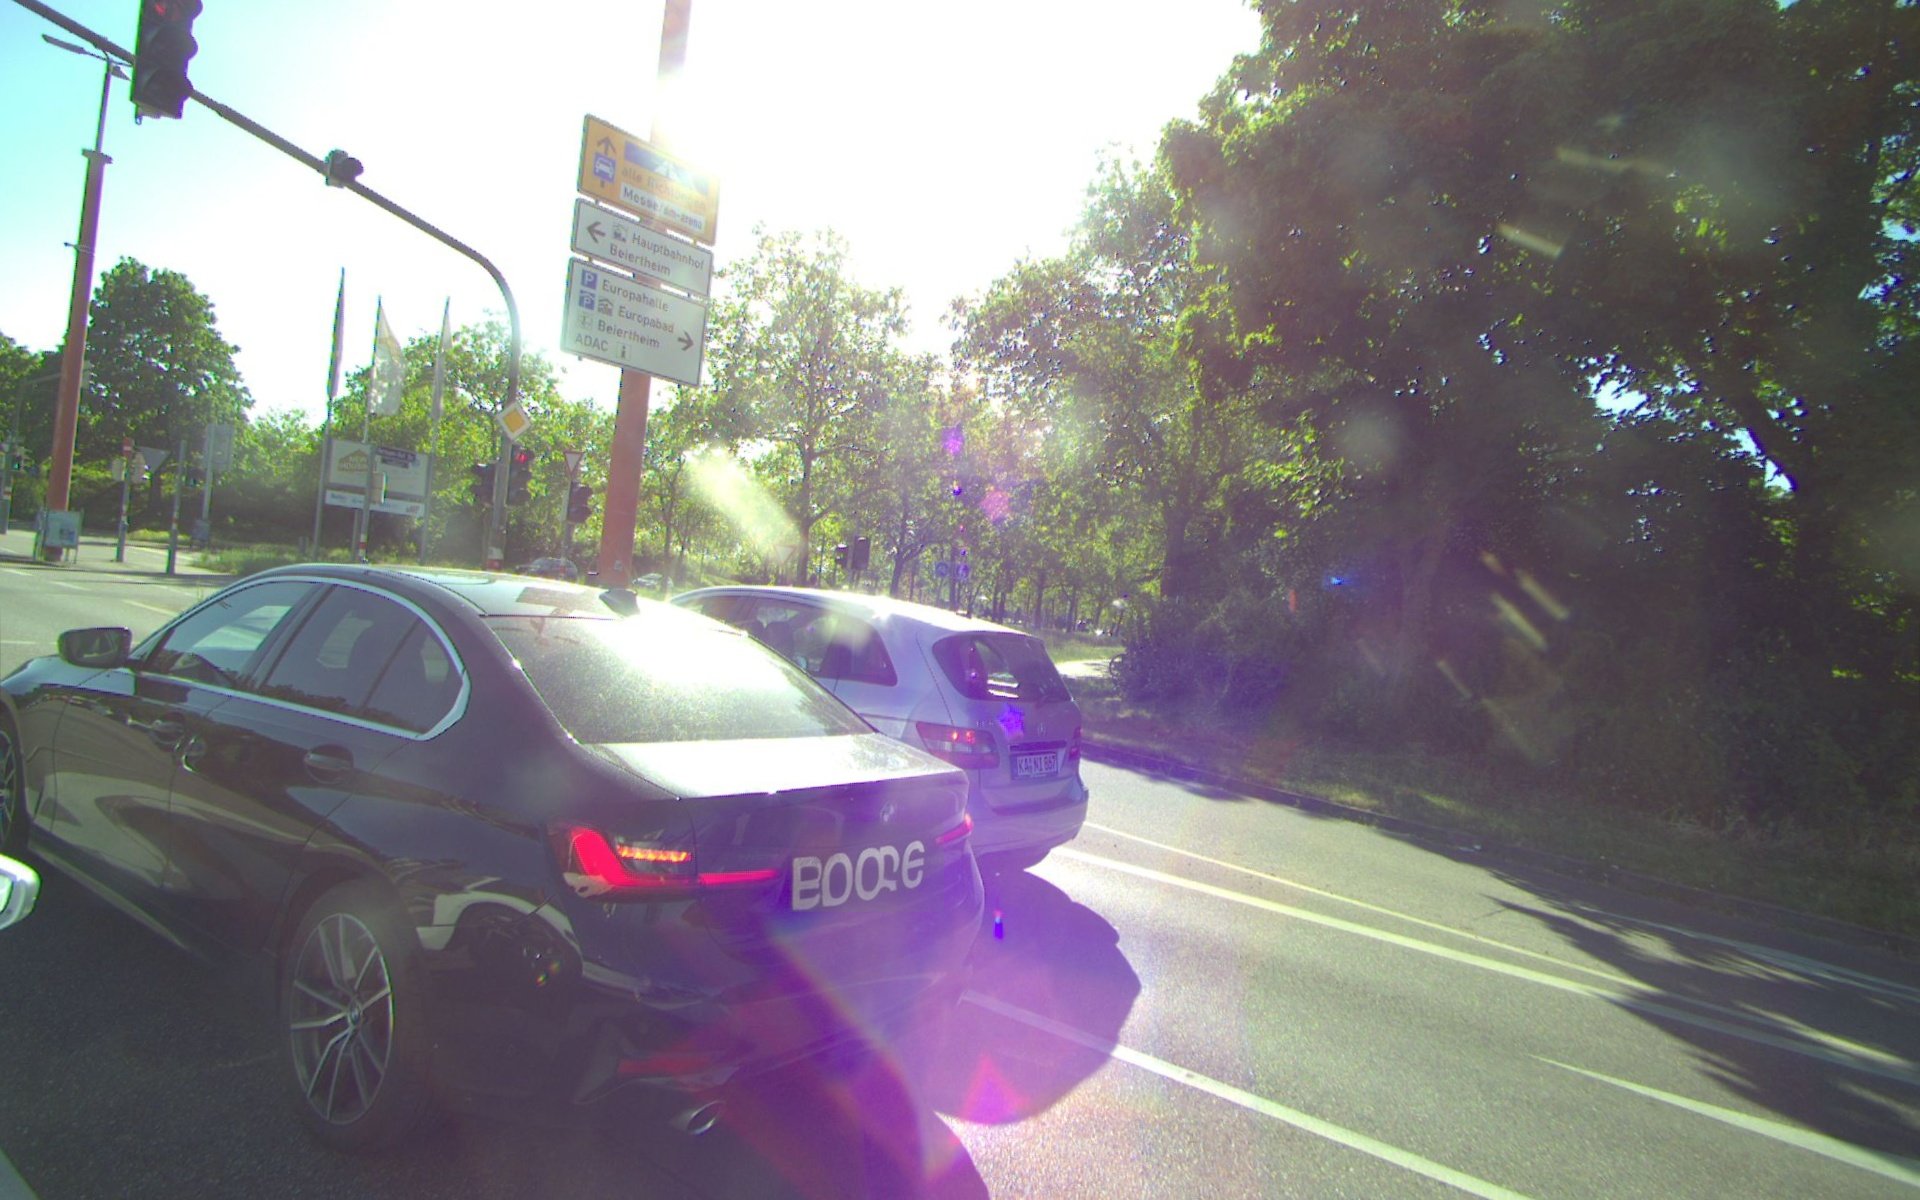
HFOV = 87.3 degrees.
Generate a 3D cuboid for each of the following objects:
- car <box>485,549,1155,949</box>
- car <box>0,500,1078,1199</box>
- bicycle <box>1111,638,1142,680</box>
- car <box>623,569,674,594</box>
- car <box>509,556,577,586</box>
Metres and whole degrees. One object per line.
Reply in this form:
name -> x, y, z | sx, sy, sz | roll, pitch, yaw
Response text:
car -> -1.013, 0.707, 6.475 | 3.963, 1.597, 1.741 | 7, 0, 33
car -> -1.995, 0.544, 3.822 | 4.371, 1.415, 1.871 | 7, 0, 33
bicycle -> 4.755, 1.671, 28.681 | 0.709, 1.070, 1.833 | 7, -1, 11
car -> -23.969, -1.373, 77.573 | 1.652, 1.485, 3.997 | 7, -1, 17
car -> -27.221, -1.861, 65.787 | 1.751, 1.503, 4.332 | 7, -1, 14
